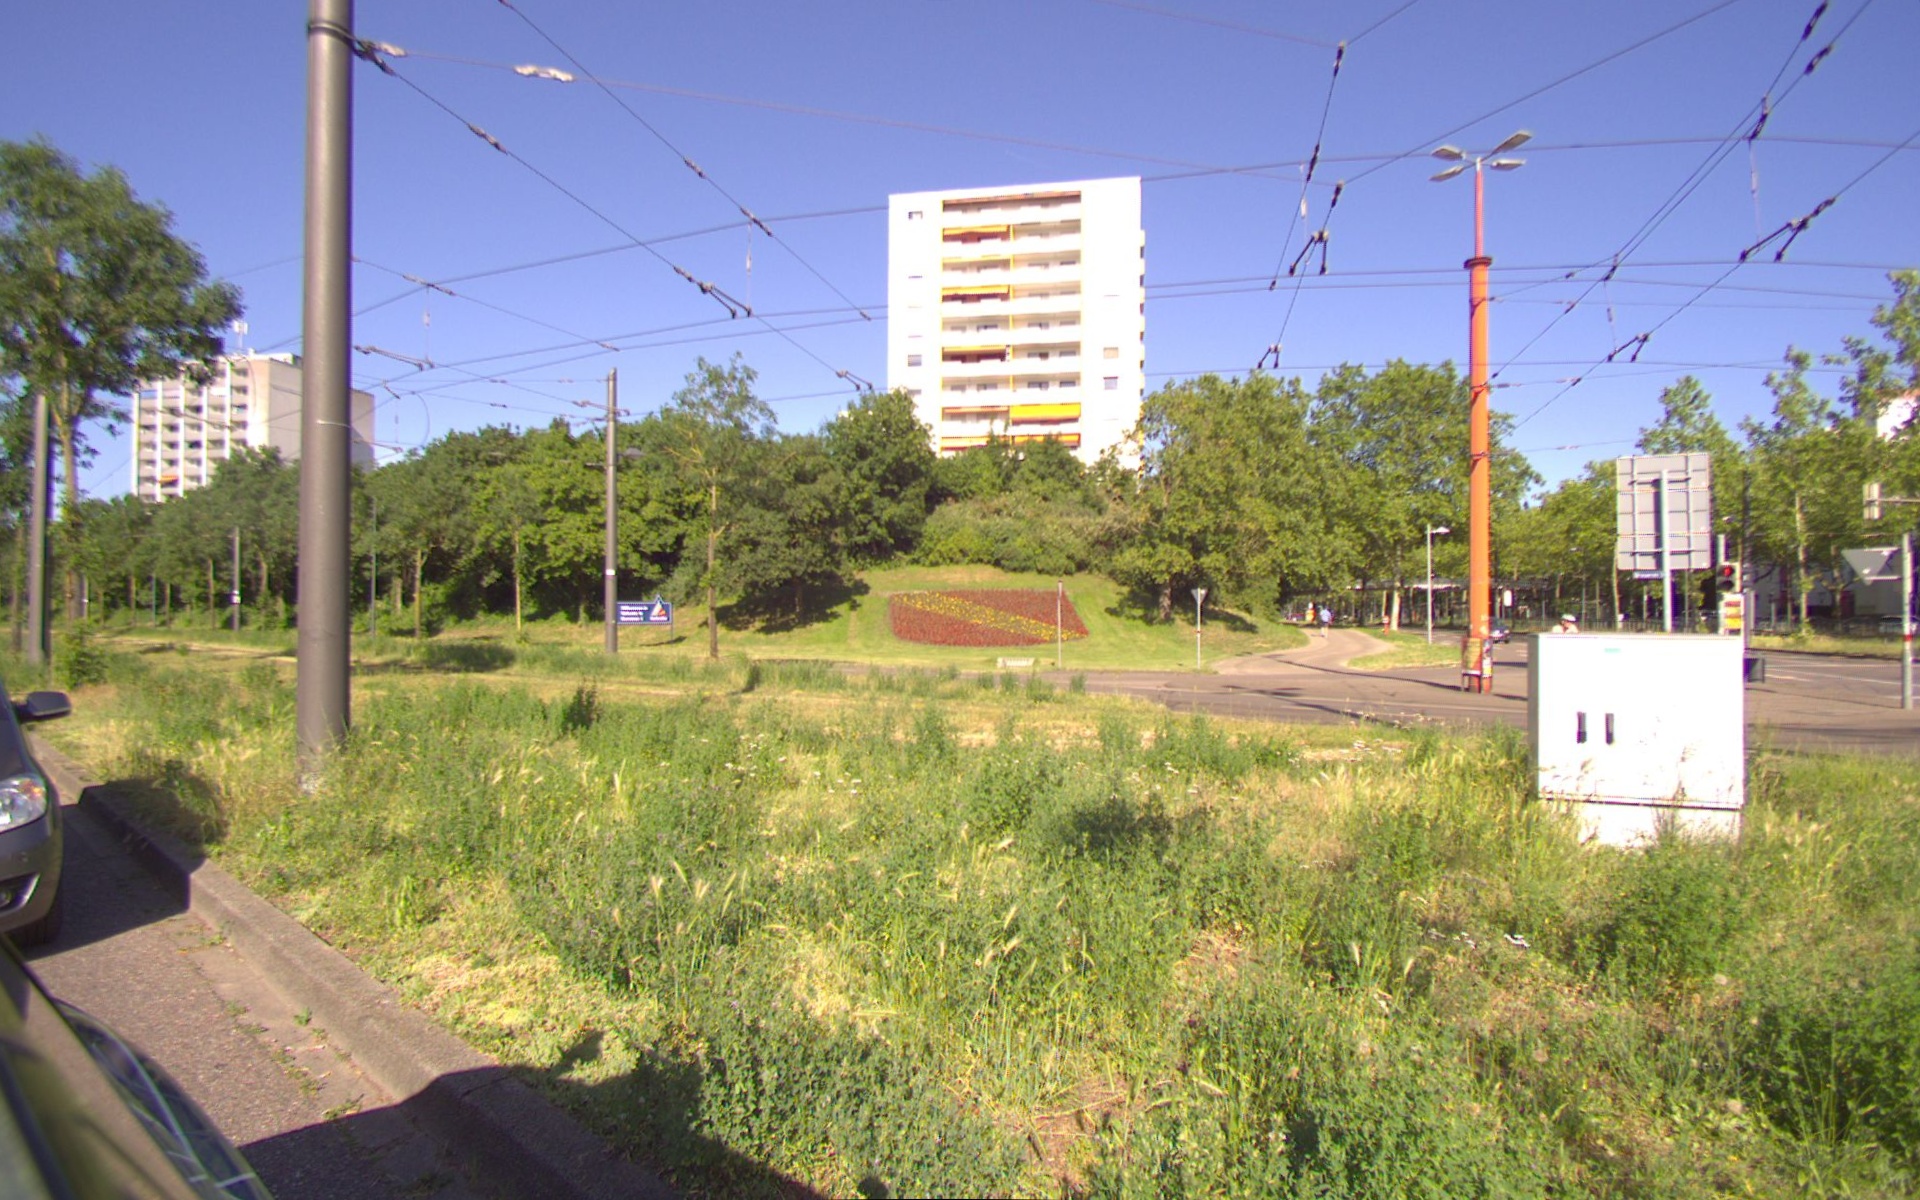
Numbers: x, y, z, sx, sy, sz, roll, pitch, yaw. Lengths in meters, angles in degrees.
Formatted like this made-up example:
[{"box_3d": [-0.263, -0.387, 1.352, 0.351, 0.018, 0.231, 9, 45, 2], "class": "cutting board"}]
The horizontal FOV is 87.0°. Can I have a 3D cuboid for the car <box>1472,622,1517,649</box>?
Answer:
[{"box_3d": [33.330, 2.203, 63.213, 1.928, 1.606, 3.882, -1, -1, 20], "class": "car"}]

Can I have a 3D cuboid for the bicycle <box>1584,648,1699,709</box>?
[{"box_3d": [13.354, 1.519, 19.916, 0.915, 1.095, 1.888, 0, -1, -2], "class": "bicycle"}]

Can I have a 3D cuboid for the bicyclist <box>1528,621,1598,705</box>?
[{"box_3d": [12.093, 1.256, 20.301, 0.920, 1.650, 0.741, 0, -1, -1], "class": "bicyclist"}]

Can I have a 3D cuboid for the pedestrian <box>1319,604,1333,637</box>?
[{"box_3d": [21.237, 1.190, 58.753, 0.729, 1.949, 0.726, -1, -2, 24], "class": "pedestrian"}]

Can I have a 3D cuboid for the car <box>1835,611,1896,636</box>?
[{"box_3d": [66.013, 1.699, 73.762, 3.931, 1.829, 2.006, 1, -2, -27], "class": "car"}]

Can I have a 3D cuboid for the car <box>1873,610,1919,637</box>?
[{"box_3d": [65.245, 1.643, 69.866, 3.931, 1.829, 2.006, 1, -2, -27], "class": "car"}]

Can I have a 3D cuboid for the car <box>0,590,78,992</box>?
[{"box_3d": [-5.943, 0.796, 5.042, 4.382, 1.619, 1.754, -1, -2, 41], "class": "car"}]

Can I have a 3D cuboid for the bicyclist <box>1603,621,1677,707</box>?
[{"box_3d": [13.350, 1.239, 19.882, 0.920, 1.650, 0.741, 0, -1, -1], "class": "bicyclist"}]

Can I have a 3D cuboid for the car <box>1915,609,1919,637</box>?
[{"box_3d": [64.402, 1.505, 65.903, 3.931, 1.829, 2.006, 1, -2, -27], "class": "car"}]

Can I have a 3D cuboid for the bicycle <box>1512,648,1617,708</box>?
[{"box_3d": [12.088, 1.534, 20.317, 0.915, 1.095, 1.888, 0, -1, -2], "class": "bicycle"}]
